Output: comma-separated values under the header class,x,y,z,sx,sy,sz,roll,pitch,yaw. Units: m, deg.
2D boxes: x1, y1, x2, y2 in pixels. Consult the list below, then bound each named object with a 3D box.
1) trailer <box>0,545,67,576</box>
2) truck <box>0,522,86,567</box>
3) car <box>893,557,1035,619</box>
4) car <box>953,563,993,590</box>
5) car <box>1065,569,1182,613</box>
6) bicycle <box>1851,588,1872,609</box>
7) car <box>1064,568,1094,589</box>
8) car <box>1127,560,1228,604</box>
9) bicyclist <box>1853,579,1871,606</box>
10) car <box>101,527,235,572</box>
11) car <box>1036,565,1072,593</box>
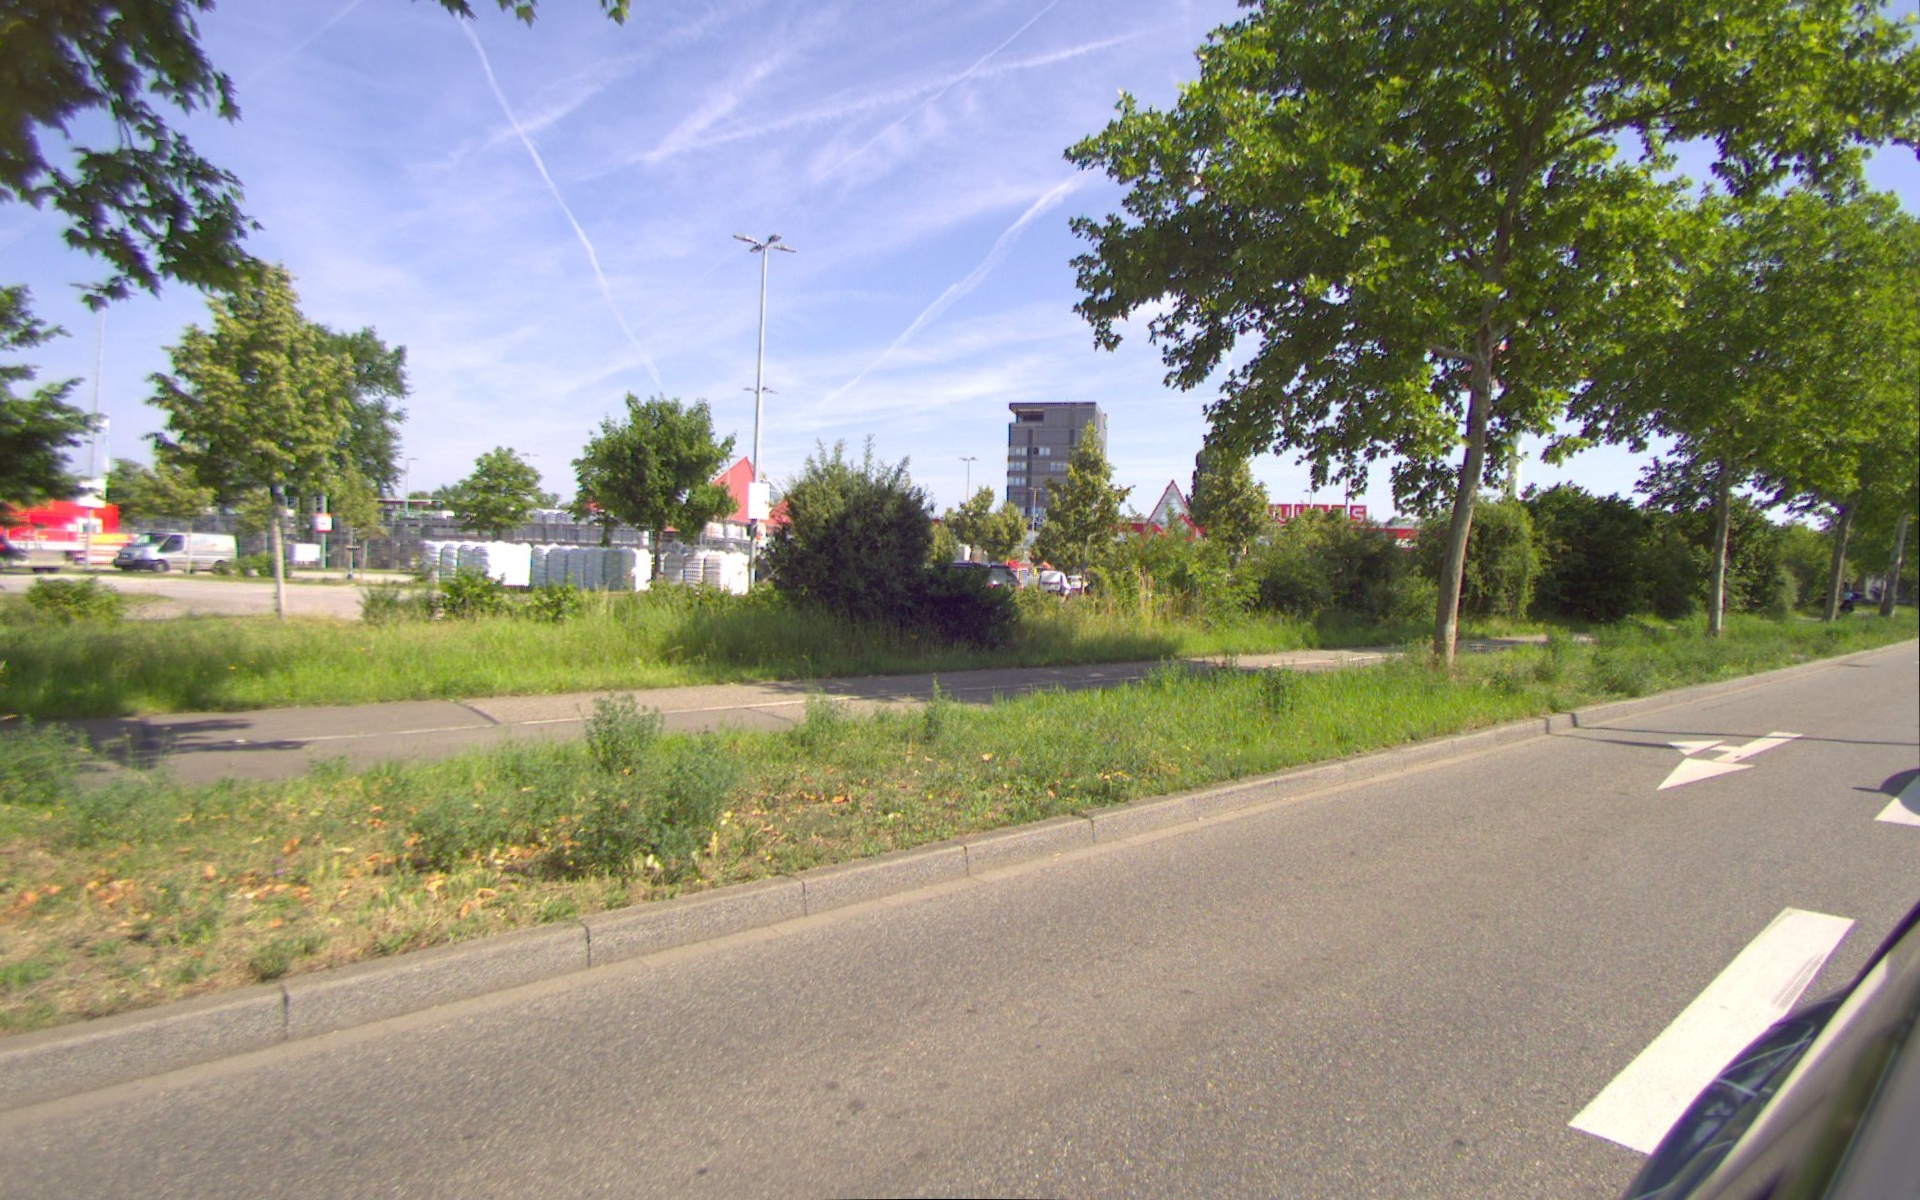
class,x,y,z,sx,sy,sz,roll,pitch,yaw
trailer,-38.857,-1.628,41.121,3.975,1.135,2.060,2,4,16
truck,-47.043,-2.727,49.895,2.038,2.166,5.836,2,2,16
car,0.061,-0.381,28.822,3.850,1.604,1.821,3,3,43
car,0.840,-1.509,63.411,1.665,1.593,3.985,2,2,13
car,5.488,-0.338,34.263,3.553,1.315,1.740,3,3,43
bicycle,56.155,-0.108,63.039,1.900,1.252,0.686,0,2,-41
car,8.675,-1.573,73.391,1.665,1.473,3.985,2,2,13
car,8.552,-0.742,40.019,3.802,1.604,1.844,2,2,12
bicyclist,56.200,-0.495,63.059,0.984,1.651,0.686,0,2,-40
car,-36.732,-2.296,47.116,1.846,1.838,4.814,3,1,11
car,5.770,-1.290,61.738,1.665,1.593,3.985,2,2,13
